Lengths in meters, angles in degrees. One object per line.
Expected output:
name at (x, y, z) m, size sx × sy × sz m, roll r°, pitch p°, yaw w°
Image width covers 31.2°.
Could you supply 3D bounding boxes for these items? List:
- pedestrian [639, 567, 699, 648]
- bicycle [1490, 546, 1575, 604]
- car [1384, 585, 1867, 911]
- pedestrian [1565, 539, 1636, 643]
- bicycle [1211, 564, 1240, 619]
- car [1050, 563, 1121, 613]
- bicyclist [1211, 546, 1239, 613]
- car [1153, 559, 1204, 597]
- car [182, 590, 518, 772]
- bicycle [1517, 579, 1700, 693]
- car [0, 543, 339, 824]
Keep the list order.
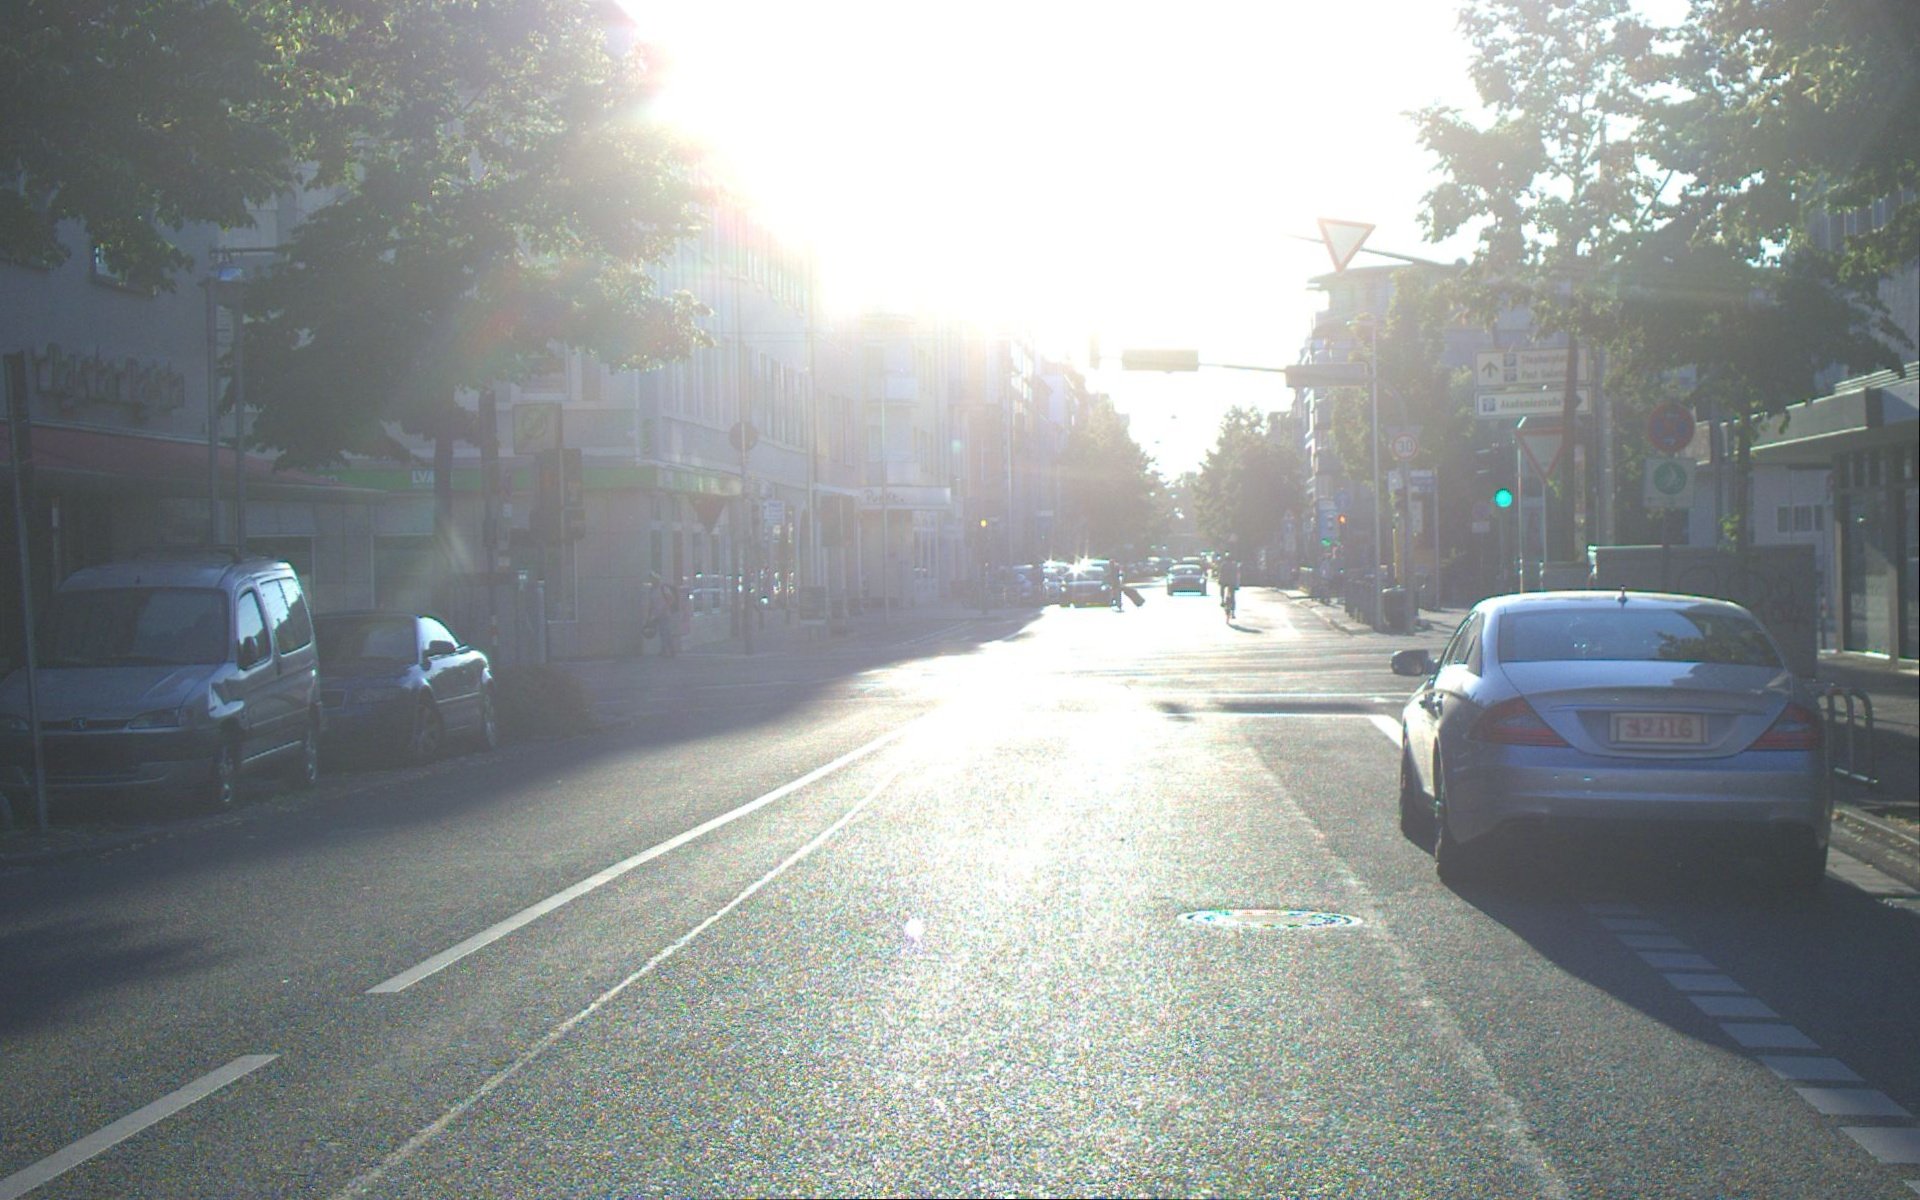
pedestrian at (-5.654, 0.149, 66.825) m, size 0.868 × 1.543 × 0.699 m, roll -2°, pitch 1°, yaw -44°
bicycle at (15.451, -0.669, 92.769) m, size 2.223 × 1.517 × 0.680 m, roll -1°, pitch 0°, yaw 9°
car at (3.232, 0.645, 17.541) m, size 1.801 × 1.373 × 4.551 m, roll 1°, pitch 1°, yaw 3°
pedestrian at (10.850, -0.151, 58.224) m, size 0.805 × 1.720 × 0.992 m, roll -3°, pitch -1°, yaw 32°
bicycle at (6.933, -0.232, 89.757) m, size 0.679 × 1.397 × 2.229 m, roll -1°, pitch 1°, yaw 6°
car at (4.559, -0.451, 123.966) m, size 2.304 × 1.672 × 5.531 m, roll -1°, pitch 1°, yaw 4°
bicyclist at (6.911, -0.535, 89.605) m, size 0.679 × 1.701 × 0.669 m, roll -1°, pitch 0°, yaw 6°
car at (10.352, -1.052, 162.822) m, size 2.304 × 1.672 × 5.531 m, roll -1°, pitch 1°, yaw 4°
car at (-5.306, 0.664, 30.485) m, size 1.915 × 1.381 × 4.381 m, roll -2°, pitch 1°, yaw 4°
bicycle at (7.101, 0.392, 37.681) m, size 1.913 × 1.199 × 0.470 m, roll -1°, pitch 0°, yaw 6°
car at (-5.806, 0.524, 24.450) m, size 1.915 × 1.781 × 4.148 m, roll -2°, pitch 1°, yaw 1°
